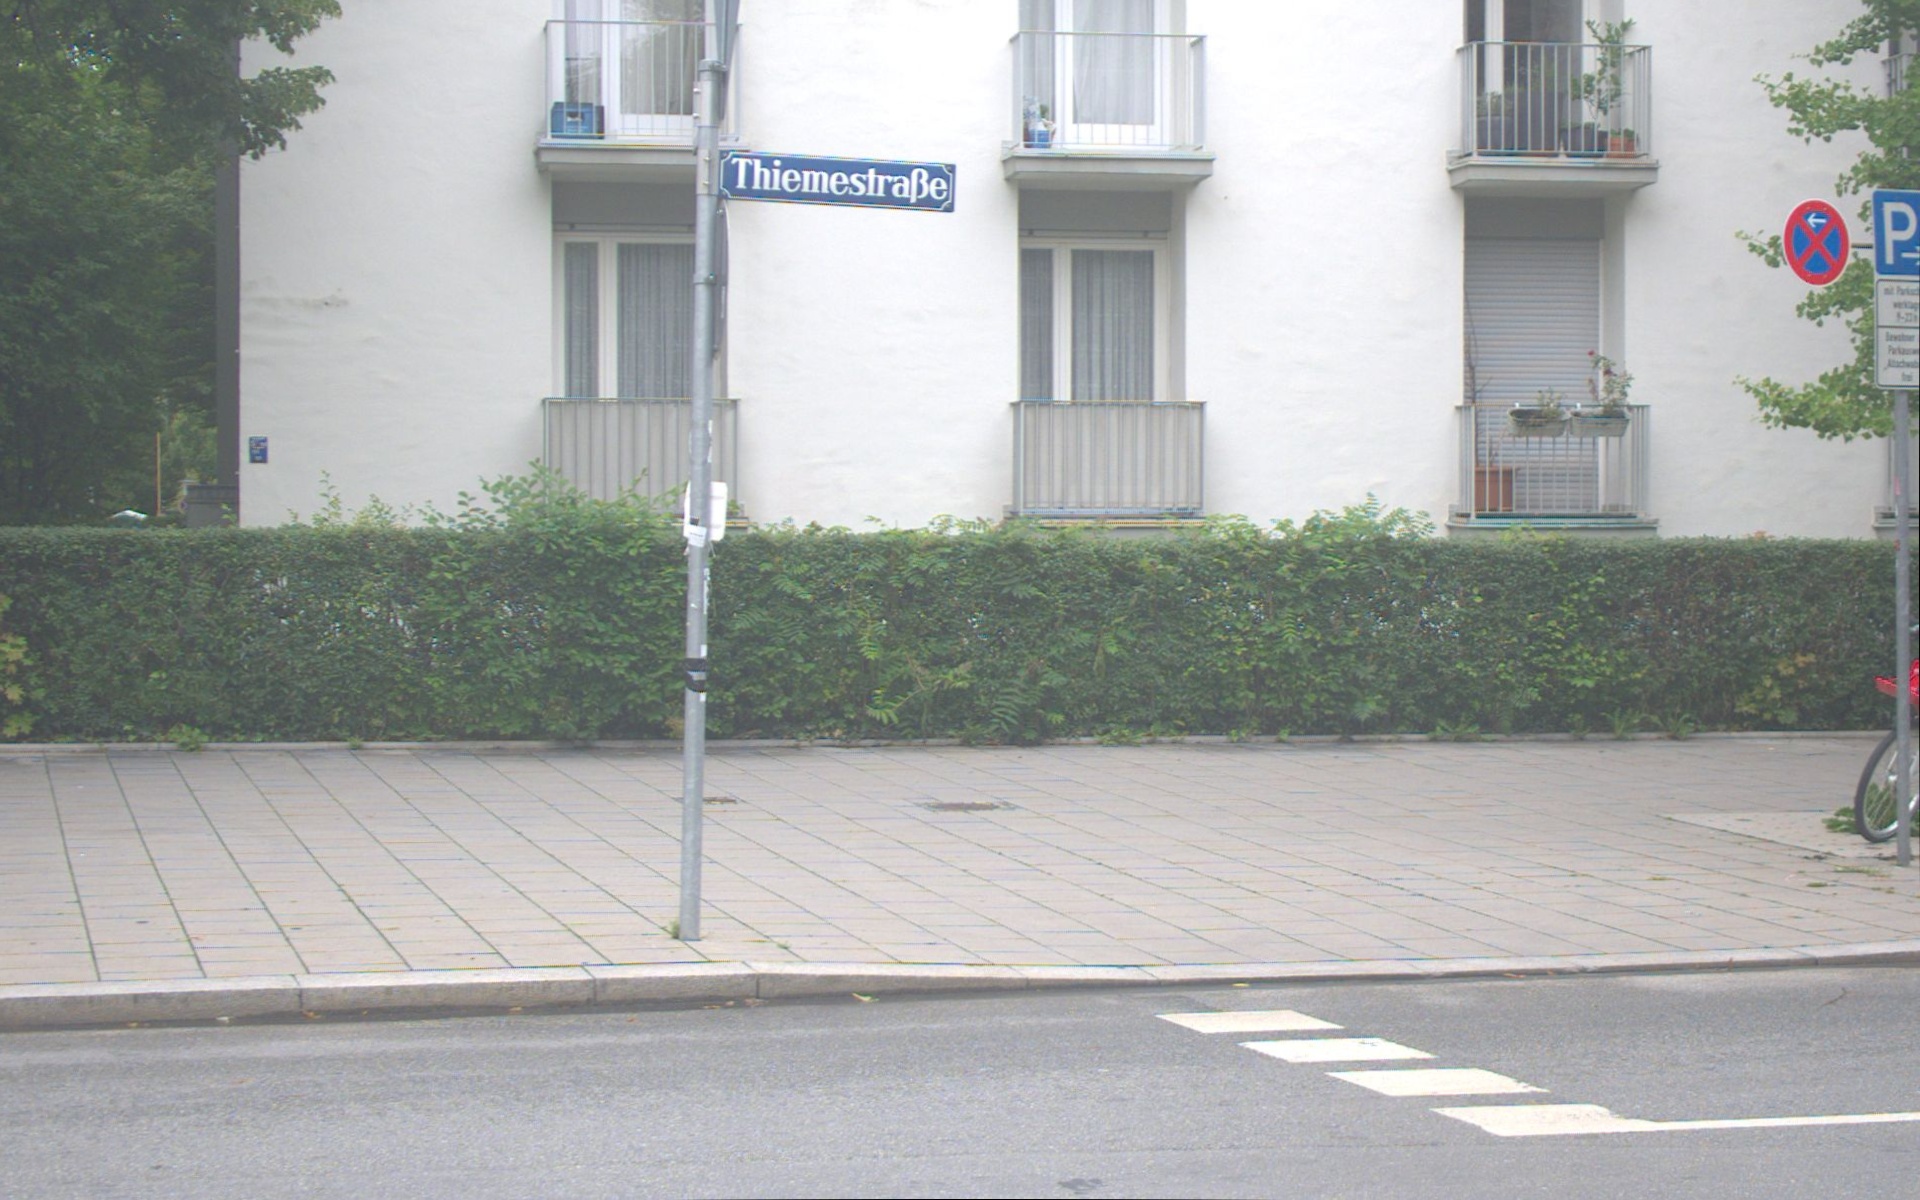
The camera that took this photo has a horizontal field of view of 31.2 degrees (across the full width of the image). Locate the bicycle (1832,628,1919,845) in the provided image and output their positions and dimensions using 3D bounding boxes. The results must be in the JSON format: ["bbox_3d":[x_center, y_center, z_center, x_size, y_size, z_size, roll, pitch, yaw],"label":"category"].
[{"bbox_3d":[5.360,0.669,17.489,1.824,1.045,0.492,-1,1,-20],"label":"bicycle"}]
